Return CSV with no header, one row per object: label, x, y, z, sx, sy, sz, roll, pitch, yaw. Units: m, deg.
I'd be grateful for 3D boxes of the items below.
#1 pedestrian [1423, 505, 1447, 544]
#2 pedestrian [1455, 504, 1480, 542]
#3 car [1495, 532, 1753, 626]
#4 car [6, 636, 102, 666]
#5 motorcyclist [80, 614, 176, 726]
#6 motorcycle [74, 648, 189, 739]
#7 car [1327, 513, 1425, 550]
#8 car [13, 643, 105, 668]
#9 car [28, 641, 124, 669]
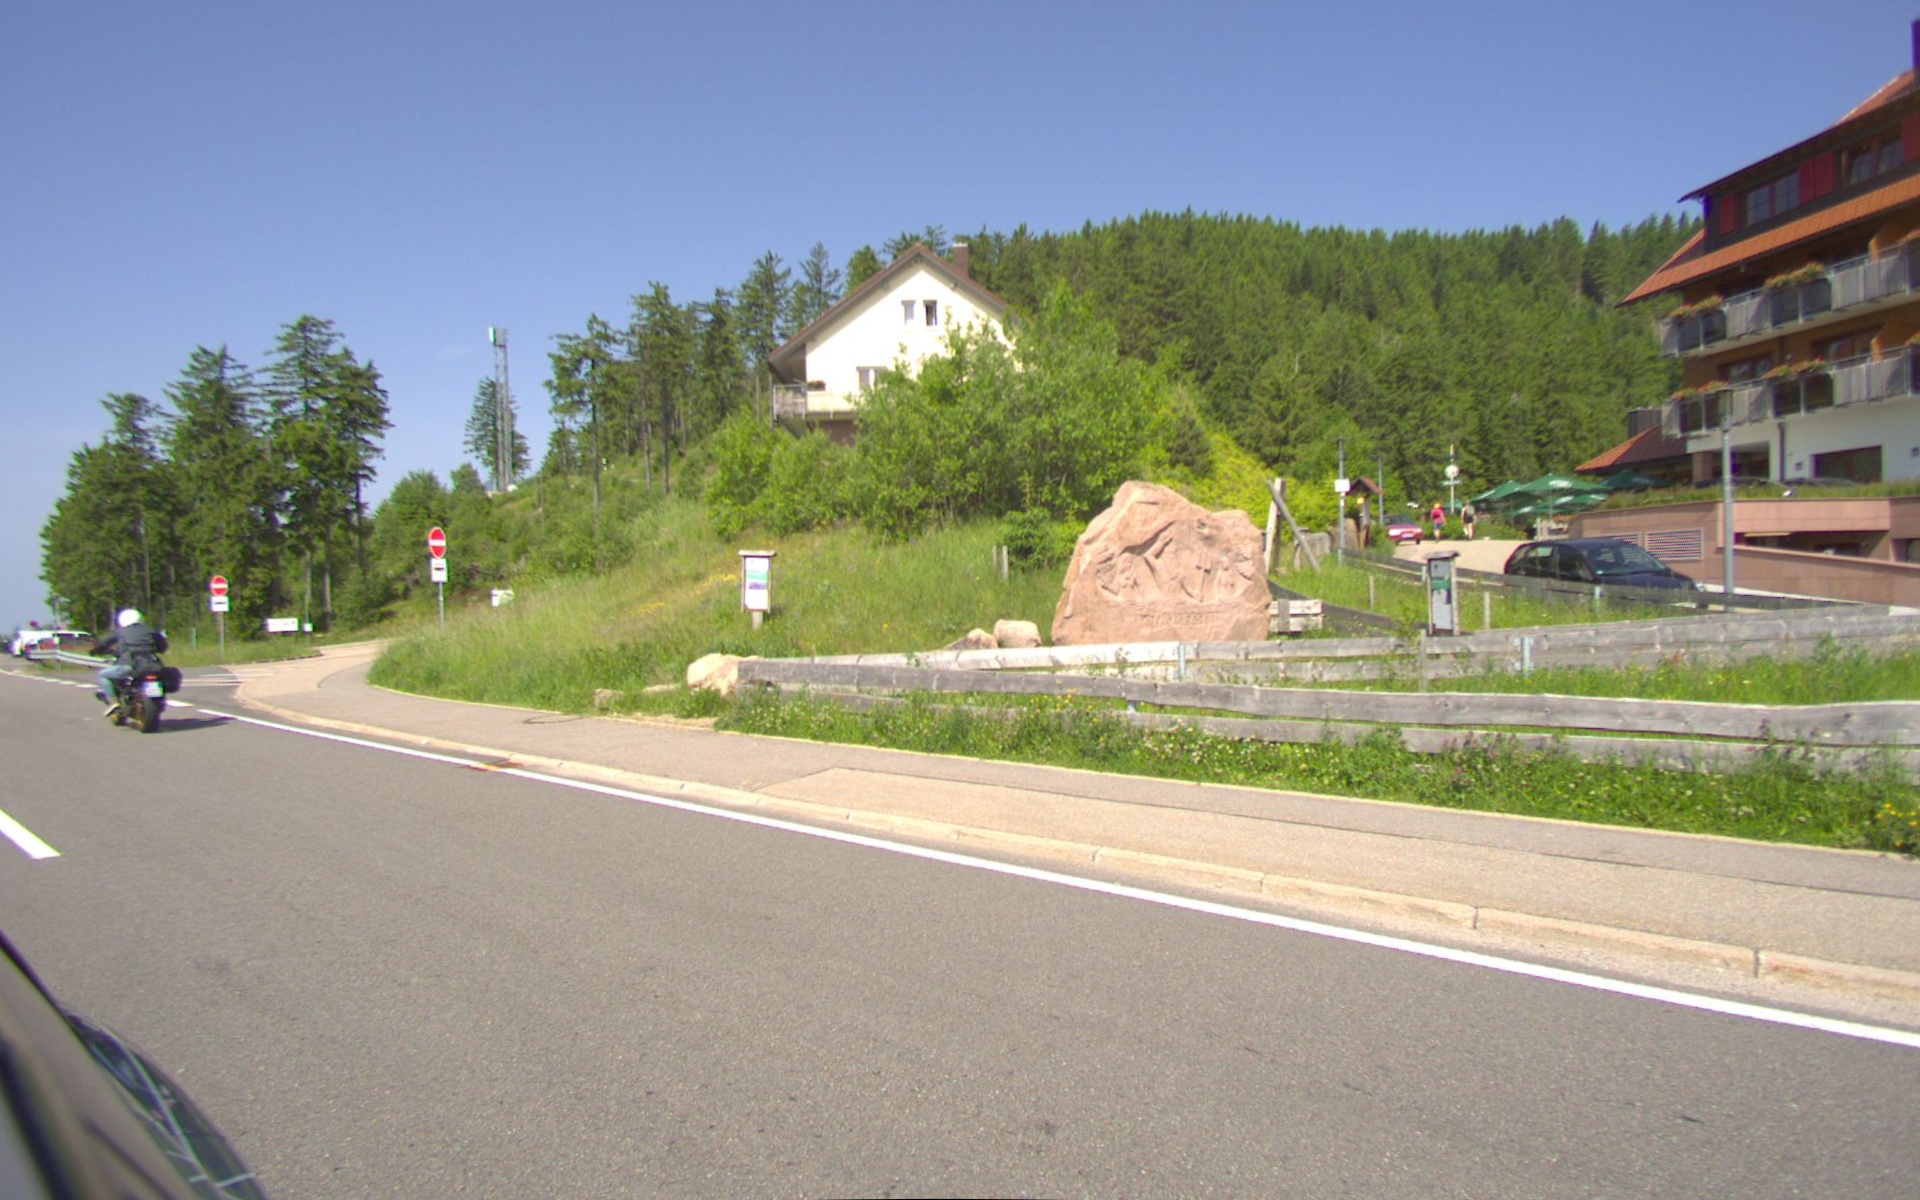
pedestrian,20.134,-3.216,42.932,0.565,1.552,0.633,-7,6,-4
pedestrian,21.310,-3.236,42.486,0.565,1.552,0.633,-7,6,-4
car,11.788,-0.472,18.366,1.852,1.363,4.004,-1,6,-3
car,-61.847,3.455,69.138,1.931,1.896,4.669,-2,-2,40
motorcyclist,-11.271,0.919,13.709,1.004,1.452,0.830,-2,-2,40
motorcycle,-11.269,1.217,13.736,2.181,1.104,0.830,-2,-2,40
car,17.947,-2.930,43.863,1.522,1.326,3.865,-2,0,-26
car,-54.084,3.304,60.778,1.931,1.384,3.878,-2,-2,40
car,-51.809,3.192,59.365,1.933,1.522,4.102,-2,-3,45
